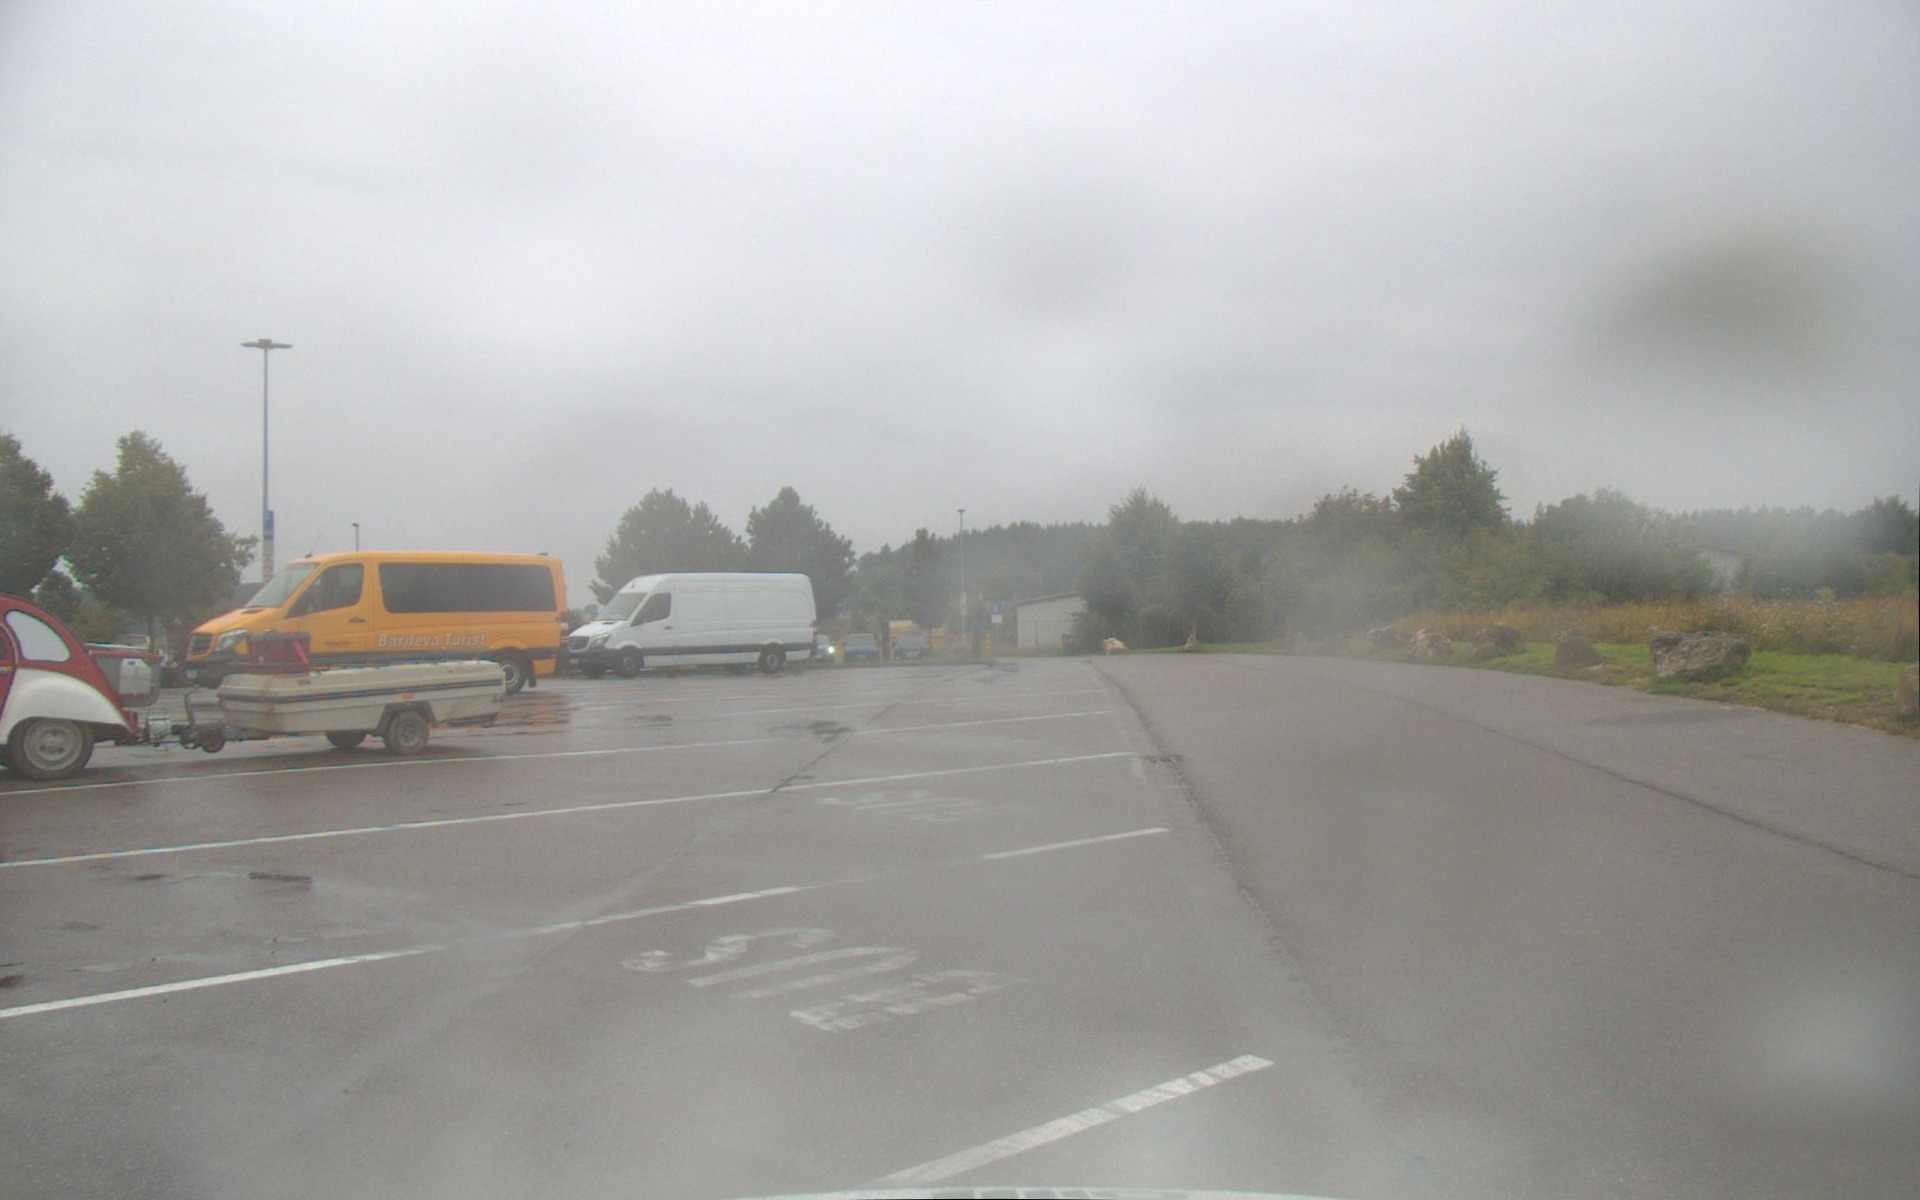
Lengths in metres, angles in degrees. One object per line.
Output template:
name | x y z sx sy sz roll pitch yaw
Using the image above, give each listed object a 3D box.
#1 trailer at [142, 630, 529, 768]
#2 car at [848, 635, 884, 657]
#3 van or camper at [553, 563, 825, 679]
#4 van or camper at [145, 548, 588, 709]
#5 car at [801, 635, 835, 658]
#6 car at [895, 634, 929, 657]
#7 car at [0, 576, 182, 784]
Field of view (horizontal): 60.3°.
trailer | -5.667 0.839 15.102 3.000 1.086 1.567 0 -1 -39
car | -4.857 2.357 85.566 1.669 1.018 3.767 -1 0 -1
van or camper | -6.882 0.448 42.778 7.006 2.762 1.970 -1 2 -42
van or camper | -9.294 0.368 26.406 6.362 2.286 2.103 -1 0 -42
car | -7.196 2.350 84.280 1.465 1.018 3.569 -1 0 -1
car | -2.460 2.330 85.423 1.669 1.018 3.767 -1 0 -1
car | -8.357 0.625 12.787 4.015 1.583 1.528 -1 0 -39
